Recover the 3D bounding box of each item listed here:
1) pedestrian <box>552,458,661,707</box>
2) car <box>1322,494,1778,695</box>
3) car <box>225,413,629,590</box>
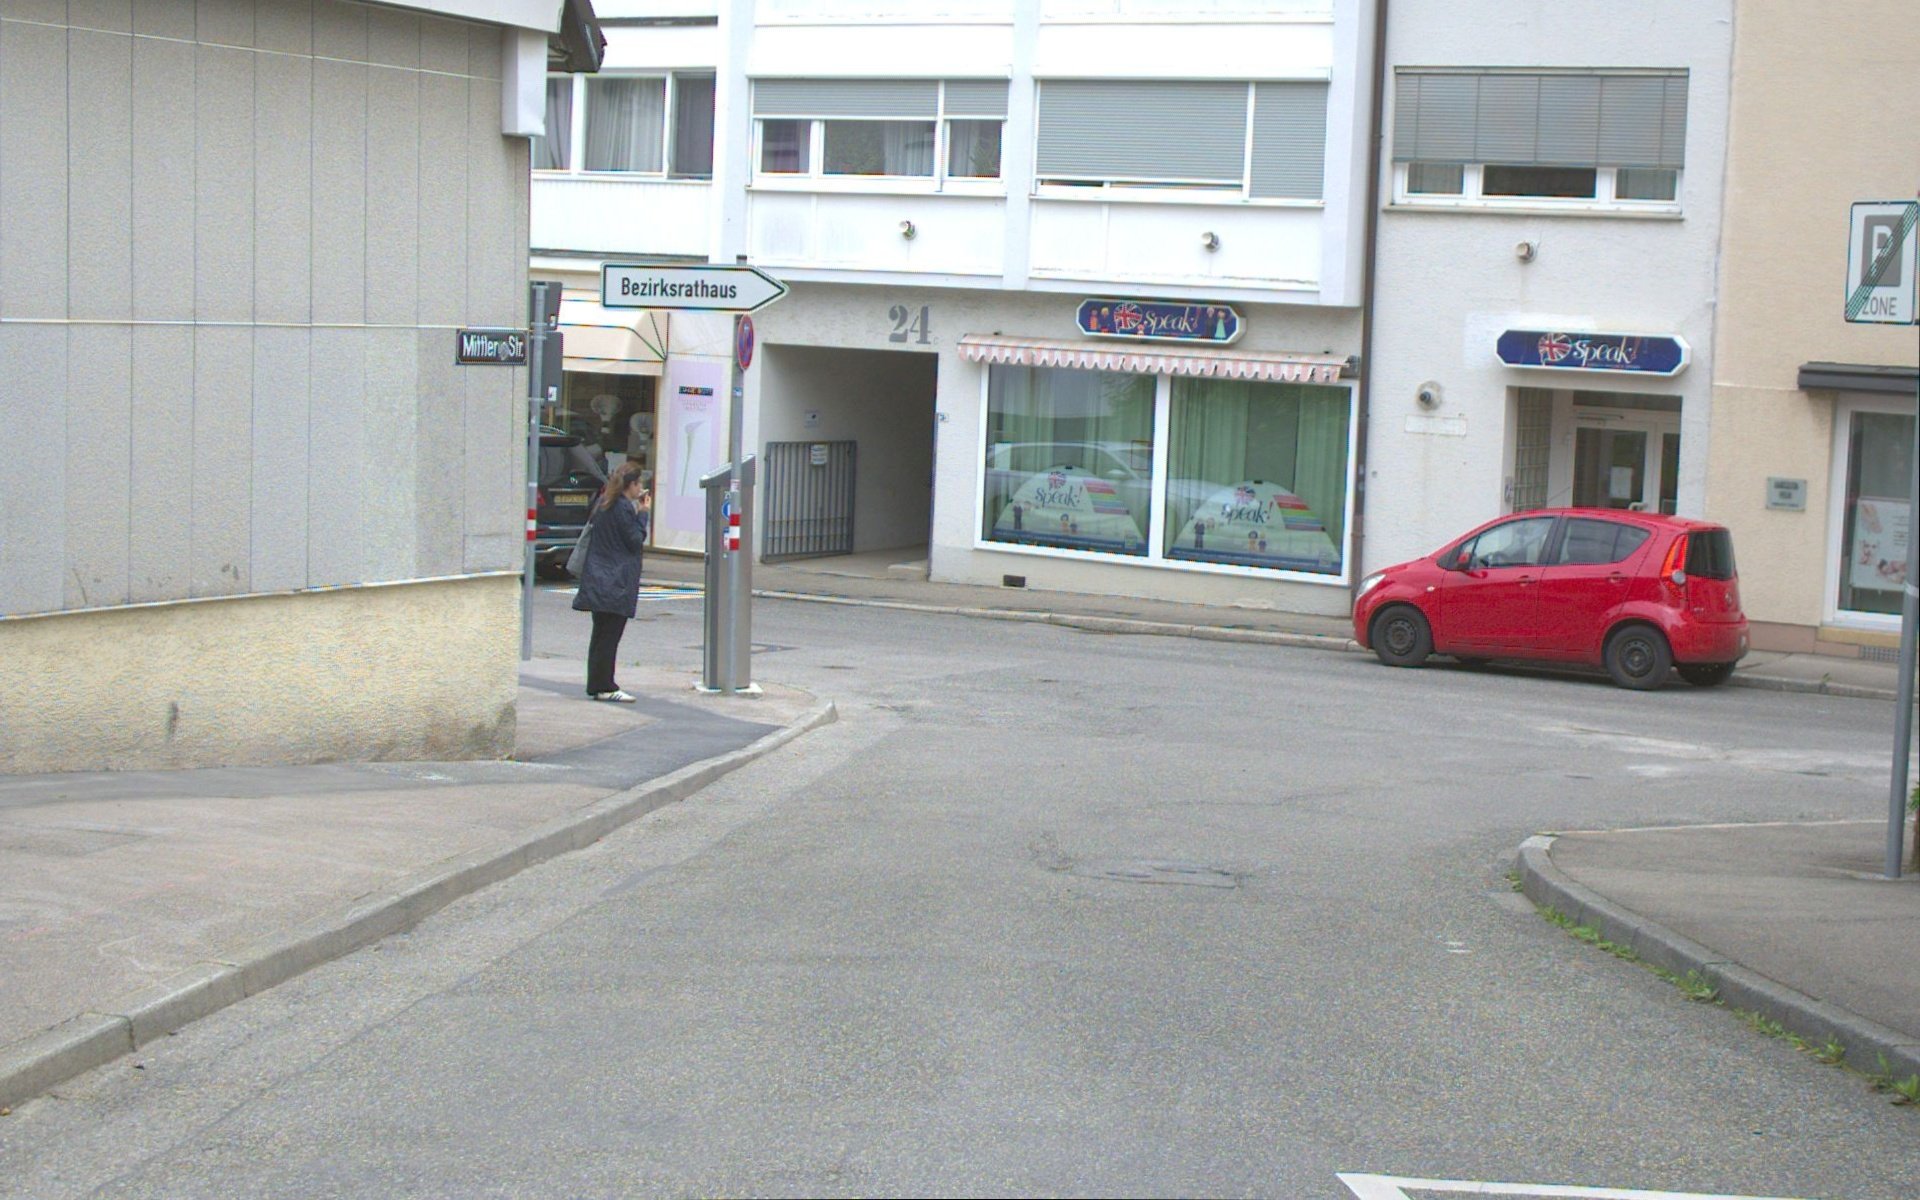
[{"bbox_3d":[-2.468,-0.128,23.968,0.646,1.679,0.604,3,3,-9],"label":"pedestrian"},{"bbox_3d":[5.417,-0.085,31.718,3.691,1.551,1.694,5,3,36],"label":"car"},{"bbox_3d":[-6.098,-1.149,39.176,4.364,1.773,1.943,4,4,35],"label":"car"}]
